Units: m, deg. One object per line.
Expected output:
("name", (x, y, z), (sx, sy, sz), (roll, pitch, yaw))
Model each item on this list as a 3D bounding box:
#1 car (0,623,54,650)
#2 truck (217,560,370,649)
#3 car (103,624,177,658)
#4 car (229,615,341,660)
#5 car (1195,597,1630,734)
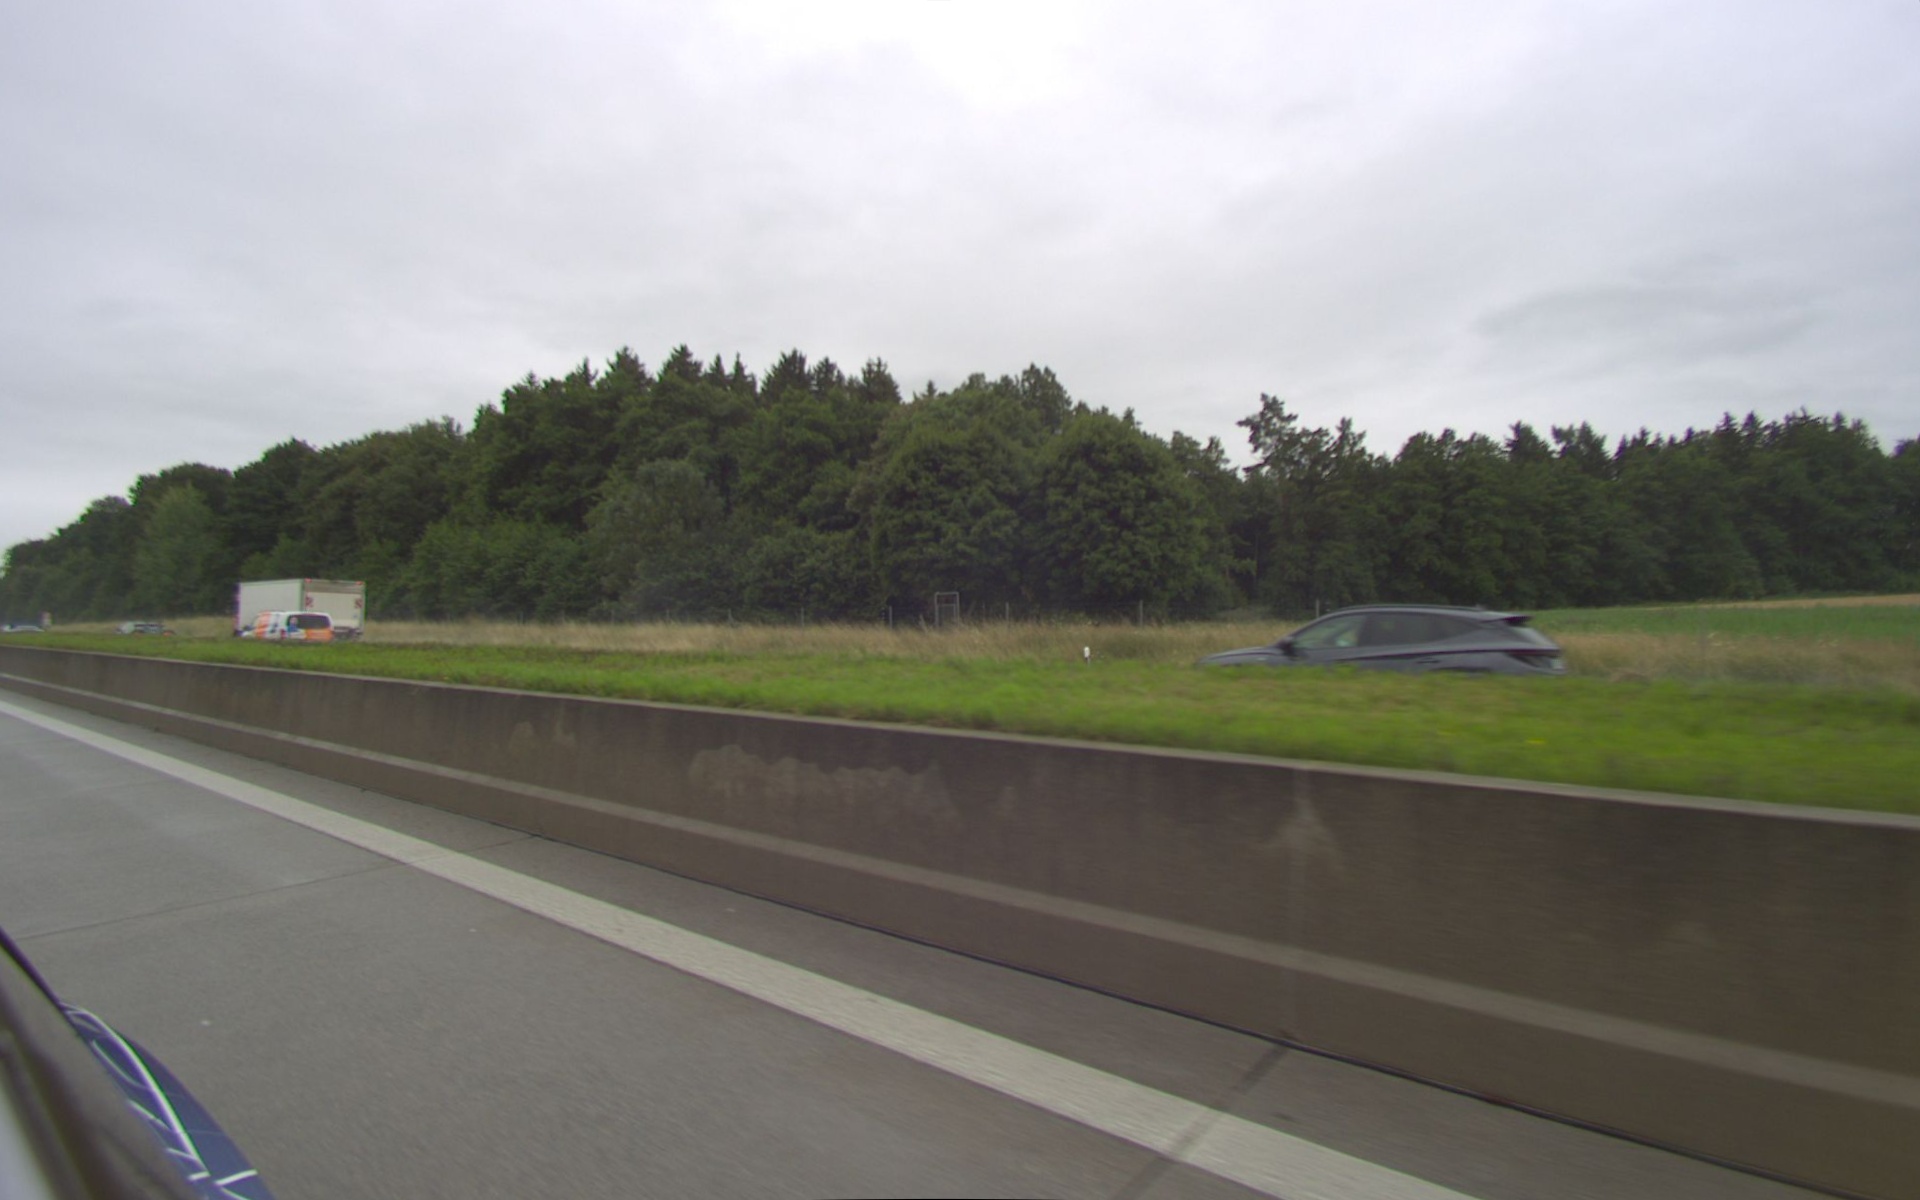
("car", (-52.615, 2.036, 56.982), (4.450, 1.491, 1.710), (-1, -3, 40))
("truck", (-32.972, 0.427, 49.722), (12.439, 3.885, 2.873), (-3, -3, 40))
("car", (-42.500, 2.098, 52.414), (5.378, 1.644, 1.970), (-1, -2, 40))
("car", (-26.509, 1.494, 39.657), (5.846, 1.644, 2.088), (-3, -3, 40))
("car", (5.370, 0.738, 12.423), (4.618, 1.398, 1.586), (-2, -2, 39))
